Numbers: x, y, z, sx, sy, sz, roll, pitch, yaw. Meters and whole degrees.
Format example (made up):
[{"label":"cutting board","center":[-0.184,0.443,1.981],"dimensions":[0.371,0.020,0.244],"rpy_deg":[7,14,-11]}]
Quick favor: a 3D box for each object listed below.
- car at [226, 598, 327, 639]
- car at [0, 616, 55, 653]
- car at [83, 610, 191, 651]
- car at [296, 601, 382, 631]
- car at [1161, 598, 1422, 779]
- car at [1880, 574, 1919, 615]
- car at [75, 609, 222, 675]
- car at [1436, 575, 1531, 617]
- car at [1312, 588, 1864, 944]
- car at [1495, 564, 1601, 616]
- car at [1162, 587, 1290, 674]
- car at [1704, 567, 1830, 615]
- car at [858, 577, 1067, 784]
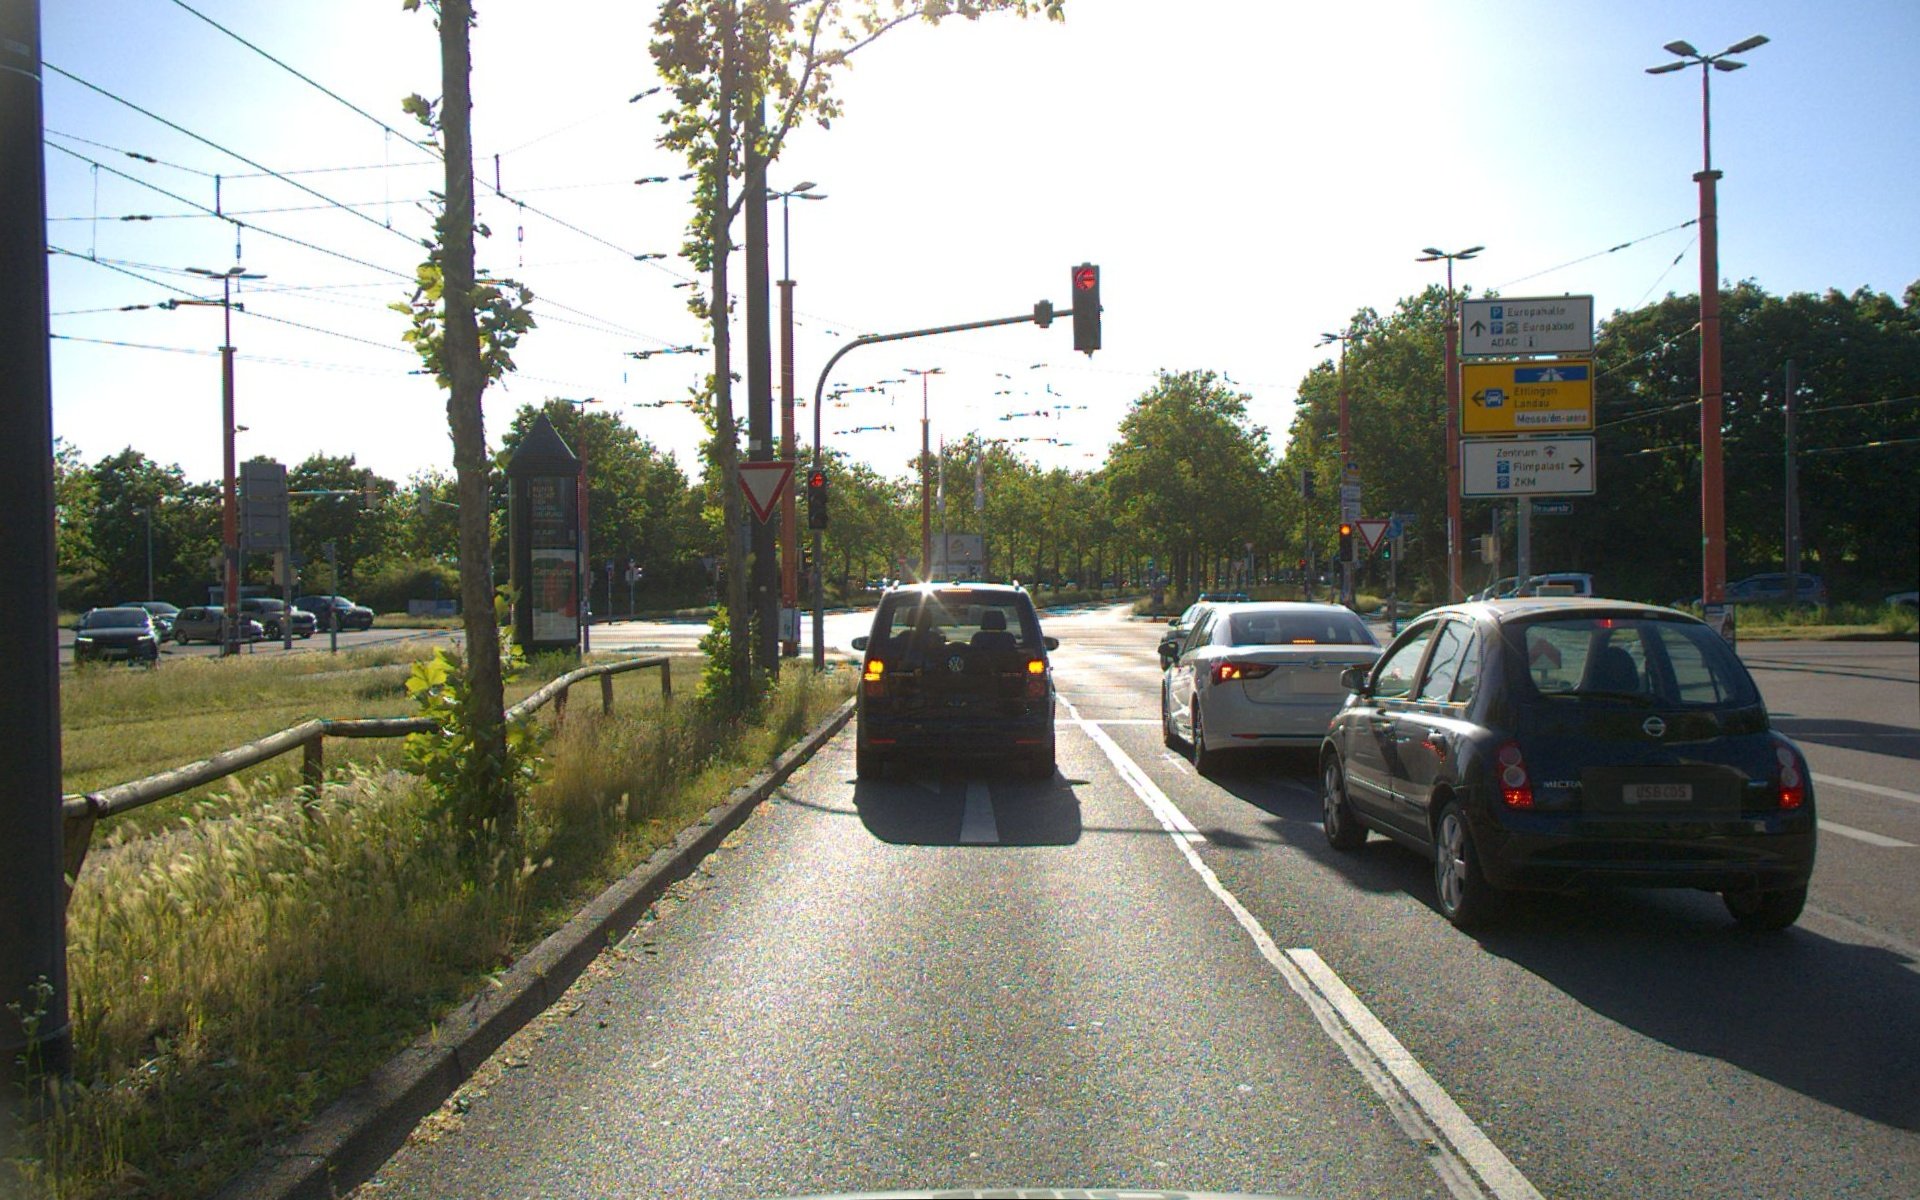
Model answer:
[{"label":"car","center":[-28.799,0.778,69.674],"dimensions":[3.913,1.673,1.996],"rpy_deg":[0,0,31]},{"label":"car","center":[-41.549,1.500,72.117],"dimensions":[3.908,1.540,1.731],"rpy_deg":[0,0,26]},{"label":"car","center":[-34.312,1.249,68.955],"dimensions":[4.091,1.640,1.867],"rpy_deg":[0,0,25]},{"label":"car","center":[-29.012,0.730,77.230],"dimensions":[3.913,1.353,1.694],"rpy_deg":[0,0,31]},{"label":"car","center":[2.953,0.717,15.564],"dimensions":[1.685,1.463,4.198],"rpy_deg":[0,0,1]},{"label":"car","center":[36.059,-0.181,60.687],"dimensions":[3.886,1.466,1.685],"rpy_deg":[1,0,27]},{"label":"car","center":[-20.484,1.021,41.929],"dimensions":[1.728,1.538,4.102],"rpy_deg":[0,0,-1]},{"label":"car","center":[21.629,-0.166,68.320],"dimensions":[3.570,1.684,1.679],"rpy_deg":[1,0,25]},{"label":"car","center":[3.112,0.714,8.981],"dimensions":[1.620,1.526,3.614],"rpy_deg":[1,0,0]},{"label":"car","center":[22.858,-0.381,64.307],"dimensions":[3.755,1.923,1.763],"rpy_deg":[1,0,24]},{"label":"car","center":[5.461,0.594,34.391],"dimensions":[1.762,1.685,4.111],"rpy_deg":[0,0,-4]},{"label":"car","center":[29.558,-0.330,60.644],"dimensions":[4.097,1.673,1.758],"rpy_deg":[1,0,27]},{"label":"car","center":[-0.009,0.637,15.236],"dimensions":[1.666,1.650,3.896],"rpy_deg":[-1,0,-1]}]
